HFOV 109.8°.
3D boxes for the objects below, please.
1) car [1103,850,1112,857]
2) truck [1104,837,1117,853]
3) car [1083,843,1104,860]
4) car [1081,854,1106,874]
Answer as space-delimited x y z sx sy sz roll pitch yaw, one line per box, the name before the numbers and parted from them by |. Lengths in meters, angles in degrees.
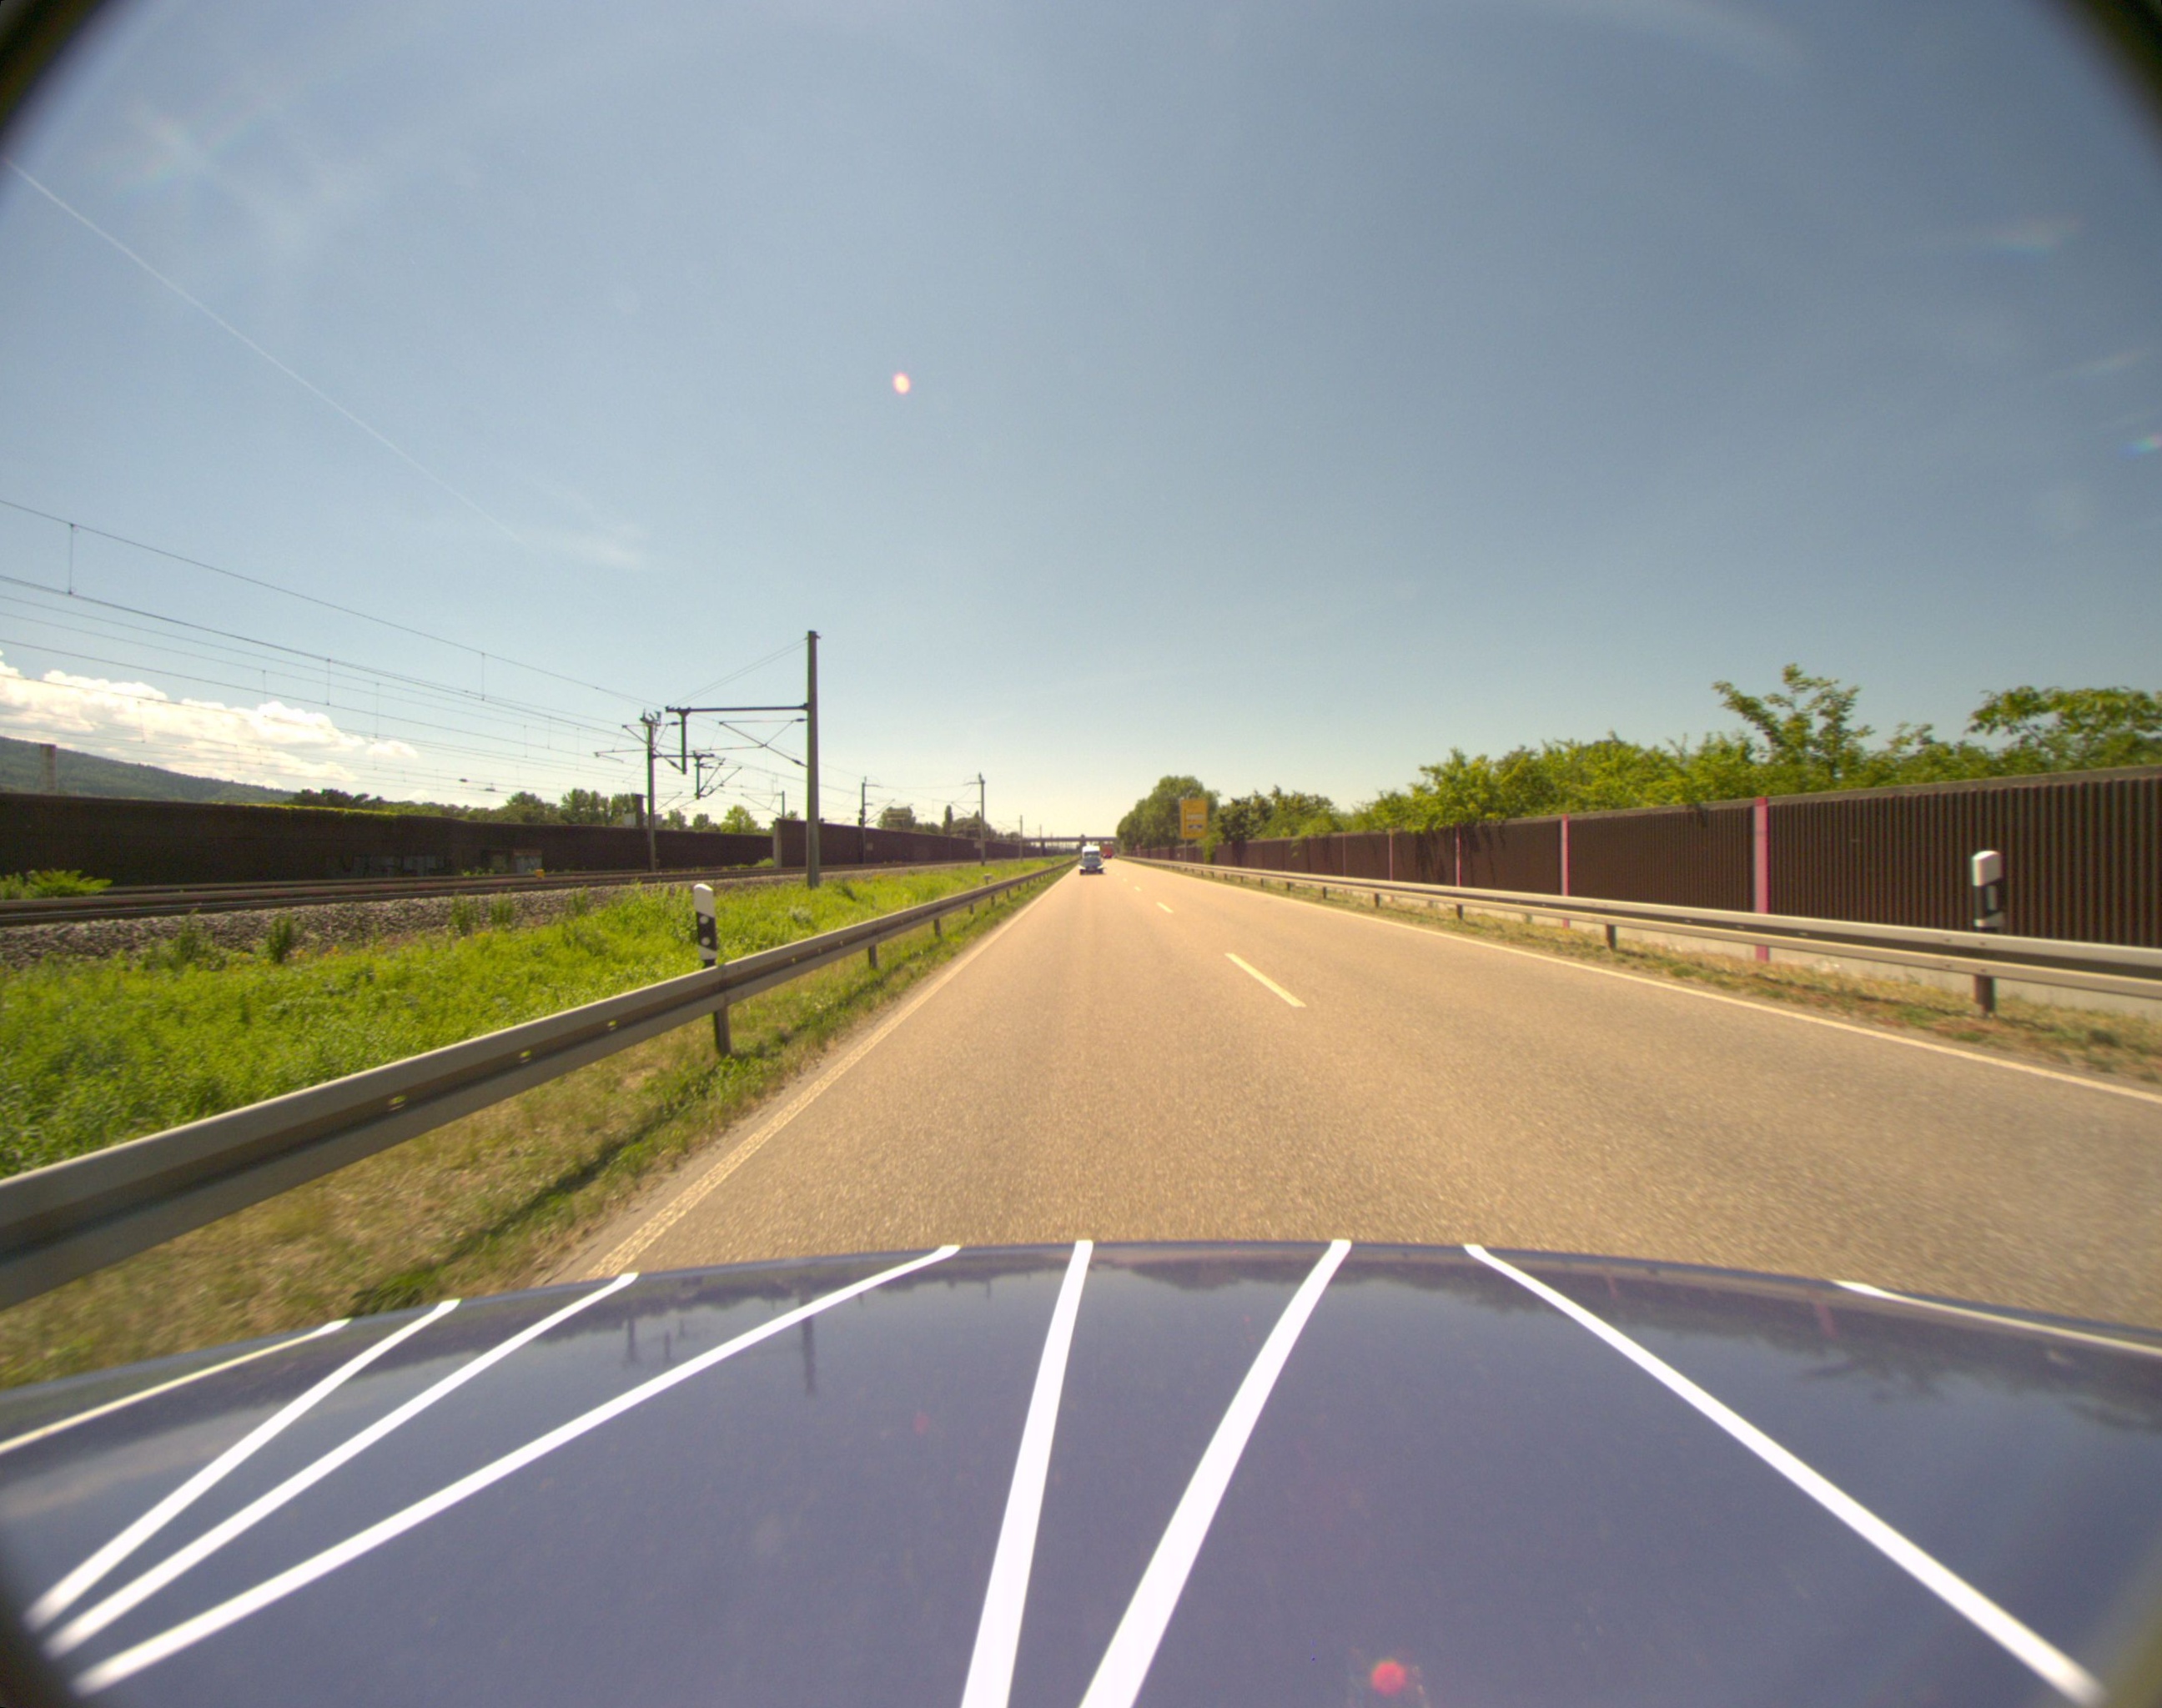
car | 6.582 -0.167 186.556 1.994 1.486 4.493 -3 0 1
truck | 7.631 -2.394 198.171 3.132 3.942 9.718 -3 0 1
car | 1.330 -0.274 82.629 2.161 1.701 4.492 -3 0 1
car | 0.935 0.743 57.126 1.758 1.313 4.000 -3 0 1
